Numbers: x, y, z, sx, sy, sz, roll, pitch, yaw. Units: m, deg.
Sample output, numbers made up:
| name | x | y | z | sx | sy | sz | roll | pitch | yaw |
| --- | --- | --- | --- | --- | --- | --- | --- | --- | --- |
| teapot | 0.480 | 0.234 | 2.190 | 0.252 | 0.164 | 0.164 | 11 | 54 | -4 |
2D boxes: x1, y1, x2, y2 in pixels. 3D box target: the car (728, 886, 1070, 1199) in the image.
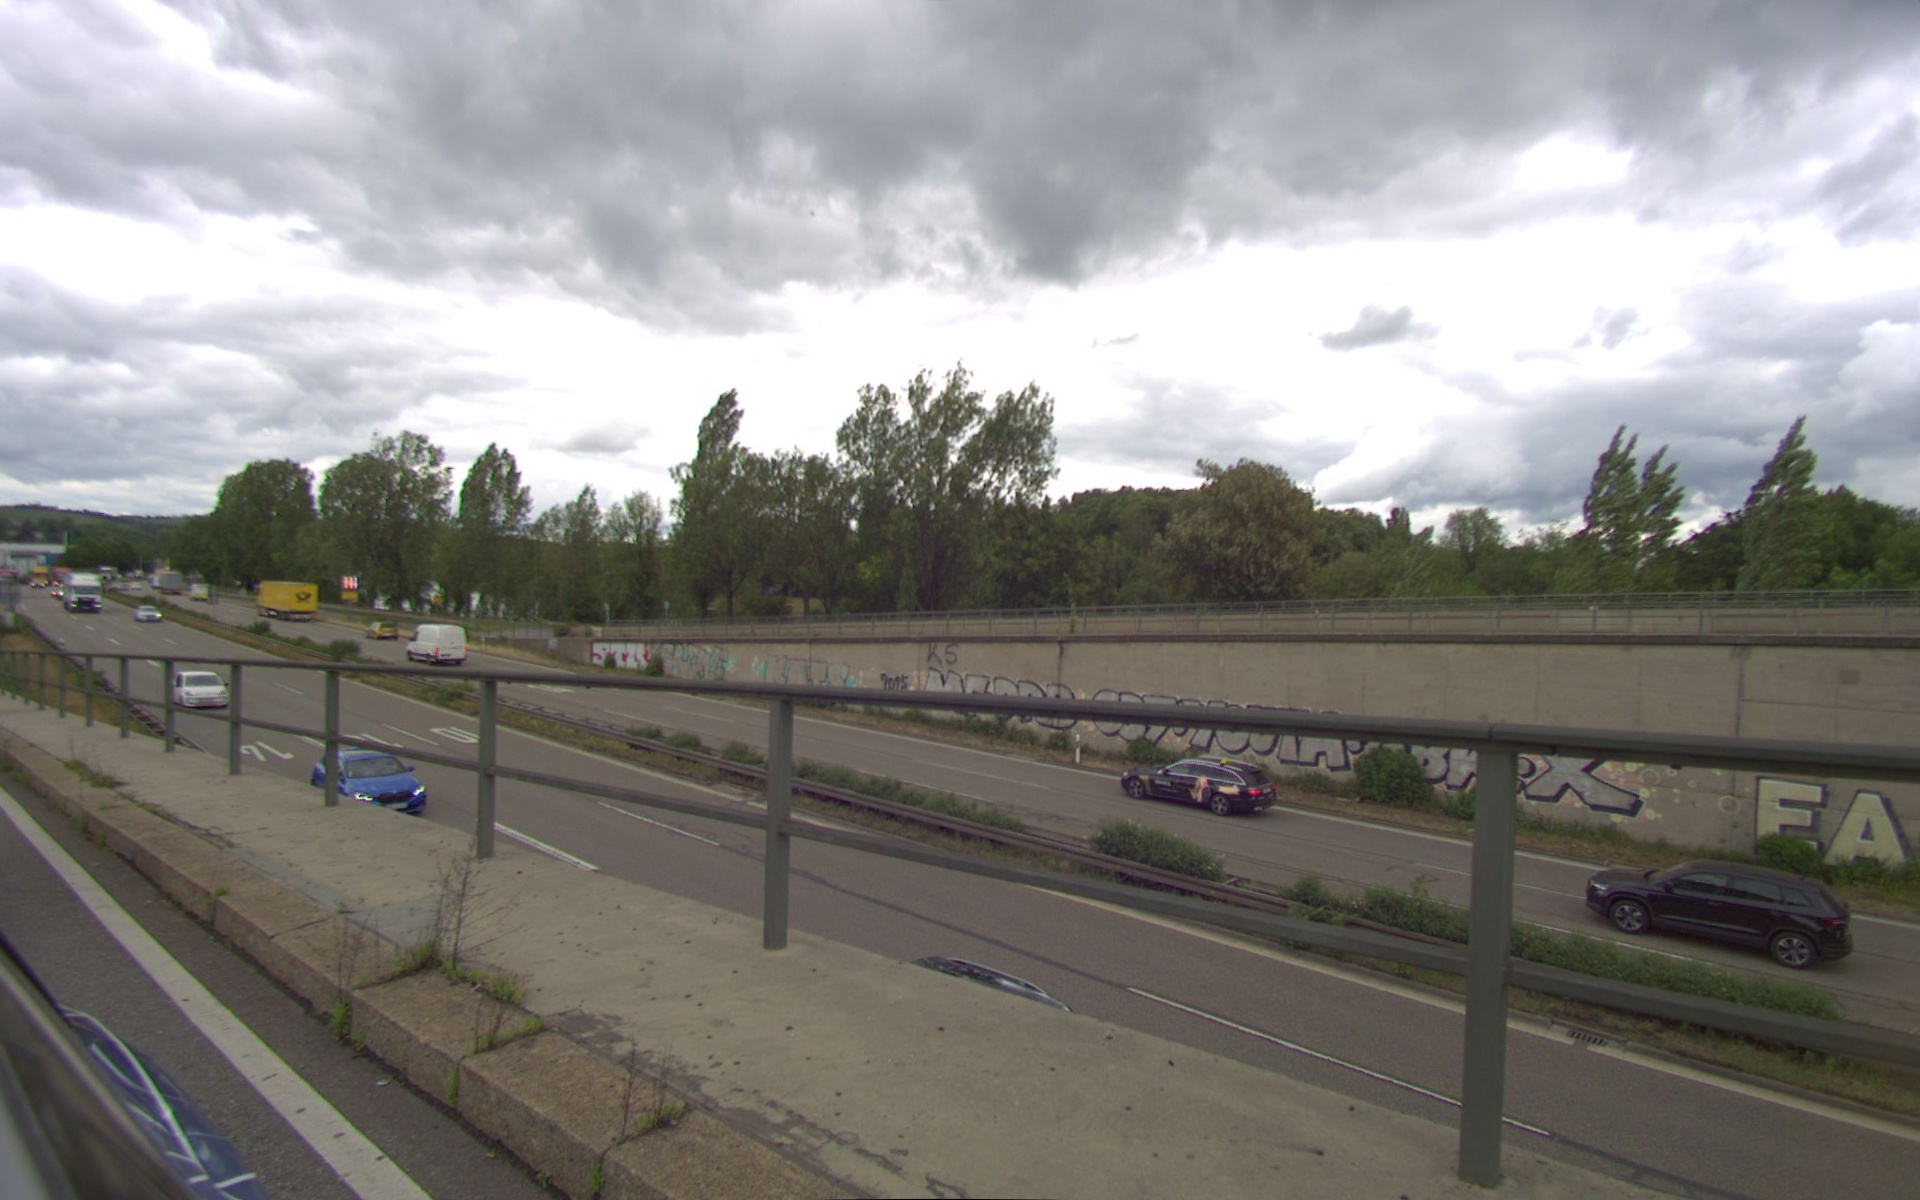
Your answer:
| name | x | y | z | sx | sy | sz | roll | pitch | yaw |
| --- | --- | --- | --- | --- | --- | --- | --- | --- | --- |
| car | -0.869 | 5.168 | 12.555 | 4.001 | 2.029 | 1.971 | 2 | -1 | 43 |

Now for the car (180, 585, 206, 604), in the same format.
| name | x | y | z | sx | sy | sz | roll | pitch | yaw |
| --- | --- | --- | --- | --- | --- | --- | --- | --- | --- |
| car | -118.791 | -0.815 | 156.756 | 6.715 | 2.648 | 1.972 | 2 | -1 | 43 |

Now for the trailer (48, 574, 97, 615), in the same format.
| name | x | y | z | sx | sy | sz | roll | pitch | yaw |
| --- | --- | --- | --- | --- | --- | --- | --- | --- | --- |
| trailer | -100.201 | -0.667 | 114.108 | 13.995 | 4.140 | 2.969 | 2 | 0 | 44 |

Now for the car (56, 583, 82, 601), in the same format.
| name | x | y | z | sx | sy | sz | roll | pitch | yaw |
| --- | --- | --- | --- | --- | --- | --- | --- | --- | --- |
| car | -124.751 | -1.132 | 141.595 | 6.502 | 2.259 | 2.076 | 3 | 0 | 43 |

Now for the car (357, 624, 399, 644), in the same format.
| name | x | y | z | sx | sy | sz | roll | pitch | yaw |
| --- | --- | --- | --- | --- | --- | --- | --- | --- | --- |
| car | -49.697 | 2.869 | 86.418 | 4.152 | 1.468 | 1.848 | 2 | 0 | 41 |

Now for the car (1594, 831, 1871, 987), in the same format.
| name | x | y | z | sx | sy | sz | roll | pitch | yaw |
| --- | --- | --- | --- | --- | --- | --- | --- | --- | --- |
| car | 15.231 | 5.980 | 20.111 | 4.181 | 1.731 | 1.862 | 2 | 0 | 41 |

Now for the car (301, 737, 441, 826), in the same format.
| name | x | y | z | sx | sy | sz | roll | pitch | yaw |
| --- | --- | --- | --- | --- | --- | --- | --- | --- | --- |
| car | -15.630 | 4.709 | 26.781 | 3.999 | 1.544 | 1.973 | 2 | -1 | 41 |

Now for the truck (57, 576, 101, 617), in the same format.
| name | x | y | z | sx | sy | sz | roll | pitch | yaw |
| --- | --- | --- | --- | --- | --- | --- | --- | --- | --- |
| truck | -94.766 | -0.420 | 108.814 | 5.877 | 4.140 | 2.969 | 2 | 0 | 44 |

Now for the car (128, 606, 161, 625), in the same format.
| name | x | y | z | sx | sy | sz | roll | pitch | yaw |
| --- | --- | --- | --- | --- | --- | --- | --- | --- | --- |
| car | -78.862 | 1.439 | 97.832 | 4.439 | 1.582 | 1.830 | 3 | 2 | 43 |

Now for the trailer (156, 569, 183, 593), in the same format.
| name | x | y | z | sx | sy | sz | roll | pitch | yaw |
| --- | --- | --- | --- | --- | --- | --- | --- | --- | --- |
| trailer | -149.546 | -3.631 | 191.428 | 2.753 | 4.170 | 13.779 | 1 | 1 | -43 |

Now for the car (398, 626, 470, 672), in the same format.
| name | x | y | z | sx | sy | sz | roll | pitch | yaw |
| --- | --- | --- | --- | --- | --- | --- | --- | --- | --- |
| car | -34.945 | 3.175 | 67.134 | 6.101 | 2.613 | 2.144 | 2 | 0 | 42 |

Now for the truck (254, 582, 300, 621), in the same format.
| name | x | y | z | sx | sy | sz | roll | pitch | yaw |
| --- | --- | --- | --- | --- | --- | --- | --- | --- | --- |
| truck | -77.818 | 0.098 | 115.218 | 3.203 | 4.213 | 5.808 | 2 | 0 | -45 |

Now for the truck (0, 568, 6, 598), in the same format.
| name | x | y | z | sx | sy | sz | roll | pitch | yaw |
| --- | --- | --- | --- | --- | --- | --- | --- | --- | --- |
| truck | -136.840 | -2.443 | 142.806 | 3.059 | 4.040 | 8.497 | 1 | 2 | -45 |

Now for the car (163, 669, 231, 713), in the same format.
| name | x | y | z | sx | sy | sz | roll | pitch | yaw |
| --- | --- | --- | --- | --- | --- | --- | --- | --- | --- |
| car | -32.991 | 3.882 | 43.725 | 3.337 | 1.539 | 1.745 | 2 | 0 | 43 |

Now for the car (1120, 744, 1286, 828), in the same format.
| name | x | y | z | sx | sy | sz | roll | pitch | yaw |
| --- | --- | --- | --- | --- | --- | --- | --- | --- | --- |
| car | 7.434 | 5.660 | 31.268 | 4.632 | 1.664 | 1.840 | 2 | 0 | 41 |

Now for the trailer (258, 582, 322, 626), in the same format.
| name | x | y | z | sx | sy | sz | roll | pitch | yaw |
| --- | --- | --- | --- | --- | --- | --- | --- | --- | --- |
| trailer | -73.221 | 0.391 | 110.450 | 3.203 | 4.294 | 13.691 | 2 | 0 | -44 |
